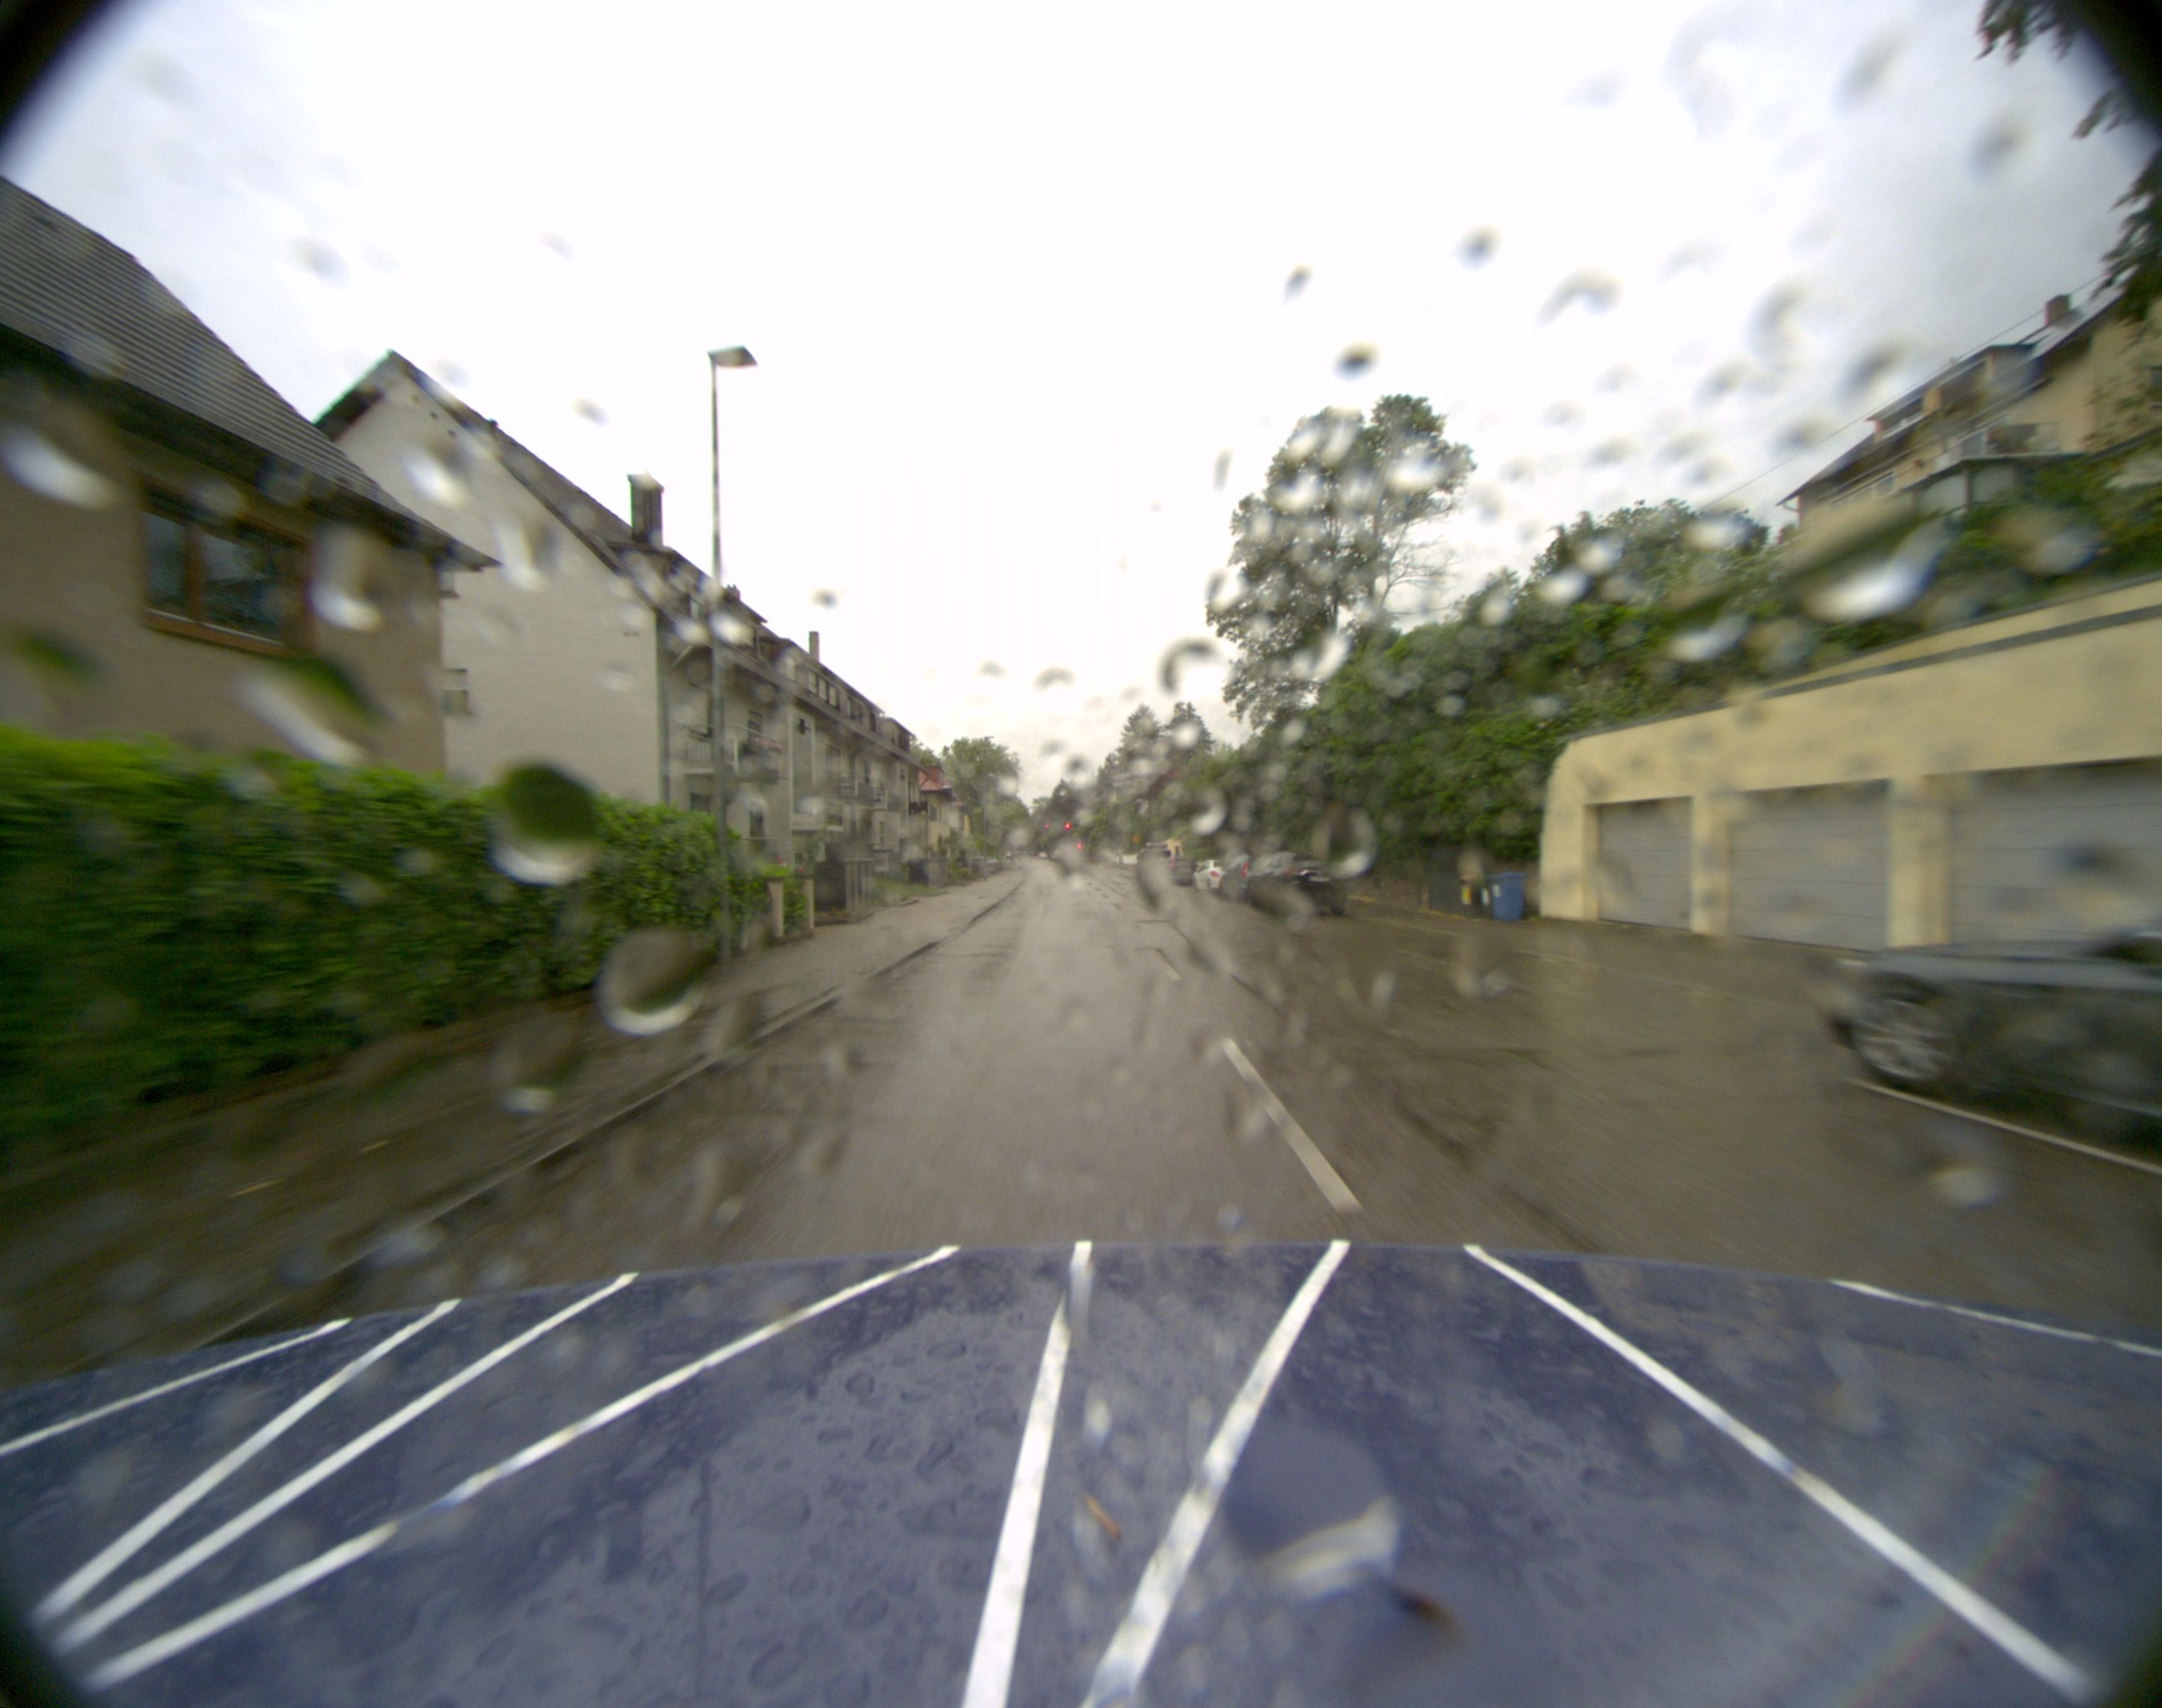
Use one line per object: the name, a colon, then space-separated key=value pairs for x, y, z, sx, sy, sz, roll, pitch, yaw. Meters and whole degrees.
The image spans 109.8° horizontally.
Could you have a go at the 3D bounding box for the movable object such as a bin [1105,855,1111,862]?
movable object such as a bin: x=4.002 y=0.668 z=112.102 sx=0.683 sy=1.034 sz=0.656 roll=-3 pitch=1 yaw=-7

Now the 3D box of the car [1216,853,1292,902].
car: x=5.953 y=0.750 z=26.614 sx=1.746 sy=1.552 sz=4.108 roll=1 pitch=1 yaw=0

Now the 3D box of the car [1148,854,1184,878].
car: x=5.329 y=0.727 z=48.008 sx=1.569 sy=1.357 sz=3.905 roll=0 pitch=1 yaw=-3

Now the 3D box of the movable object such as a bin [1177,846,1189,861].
movable object such as a bin: x=9.083 y=-0.029 z=67.483 sx=0.822 sy=1.307 sz=1.402 roll=-2 pitch=1 yaw=0

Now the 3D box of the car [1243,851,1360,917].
car: x=6.011 y=0.746 z=21.346 sx=1.879 sy=1.616 sz=4.592 roll=2 pitch=0 yaw=0

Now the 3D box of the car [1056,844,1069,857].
car: x=-3.657 y=-0.651 z=152.575 sx=2.086 sy=2.464 sz=4.850 roll=1 pitch=1 yaw=-7

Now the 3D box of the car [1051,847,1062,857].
car: x=-5.500 y=-0.472 z=169.473 sx=2.163 sy=1.944 sz=4.912 roll=1 pitch=1 yaw=-7

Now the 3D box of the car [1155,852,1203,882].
car: x=5.392 y=0.702 z=42.322 sx=1.913 sy=1.472 sz=4.754 roll=1 pitch=1 yaw=-1

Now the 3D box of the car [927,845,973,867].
car: x=-12.658 y=0.193 z=73.529 sx=3.997 sy=1.571 sz=1.820 roll=-8 pitch=1 yaw=-1

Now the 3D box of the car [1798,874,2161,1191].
car: x=6.021 y=0.886 z=3.008 sx=1.790 sy=1.446 sz=4.754 roll=1 pitch=0 yaw=-1

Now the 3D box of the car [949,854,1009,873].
car: x=-7.921 y=0.747 z=58.929 sx=4.371 sy=1.357 sz=1.922 roll=-1 pitch=2 yaw=30

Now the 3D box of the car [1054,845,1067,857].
car: x=-4.342 y=-0.686 z=159.254 sx=2.163 sy=2.454 sz=4.912 roll=1 pitch=1 yaw=-7

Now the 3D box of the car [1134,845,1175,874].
car: x=5.022 y=0.313 z=52.718 sx=2.164 sy=1.908 sz=5.321 roll=0 pitch=1 yaw=-2

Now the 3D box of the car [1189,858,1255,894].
car: x=5.730 y=0.844 z=31.287 sx=1.721 sy=1.357 sz=4.082 roll=1 pitch=0 yaw=-4

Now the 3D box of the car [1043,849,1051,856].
car: x=-9.022 y=-0.540 z=203.456 sx=1.926 sy=1.747 sz=3.997 roll=-2 pitch=1 yaw=-6
